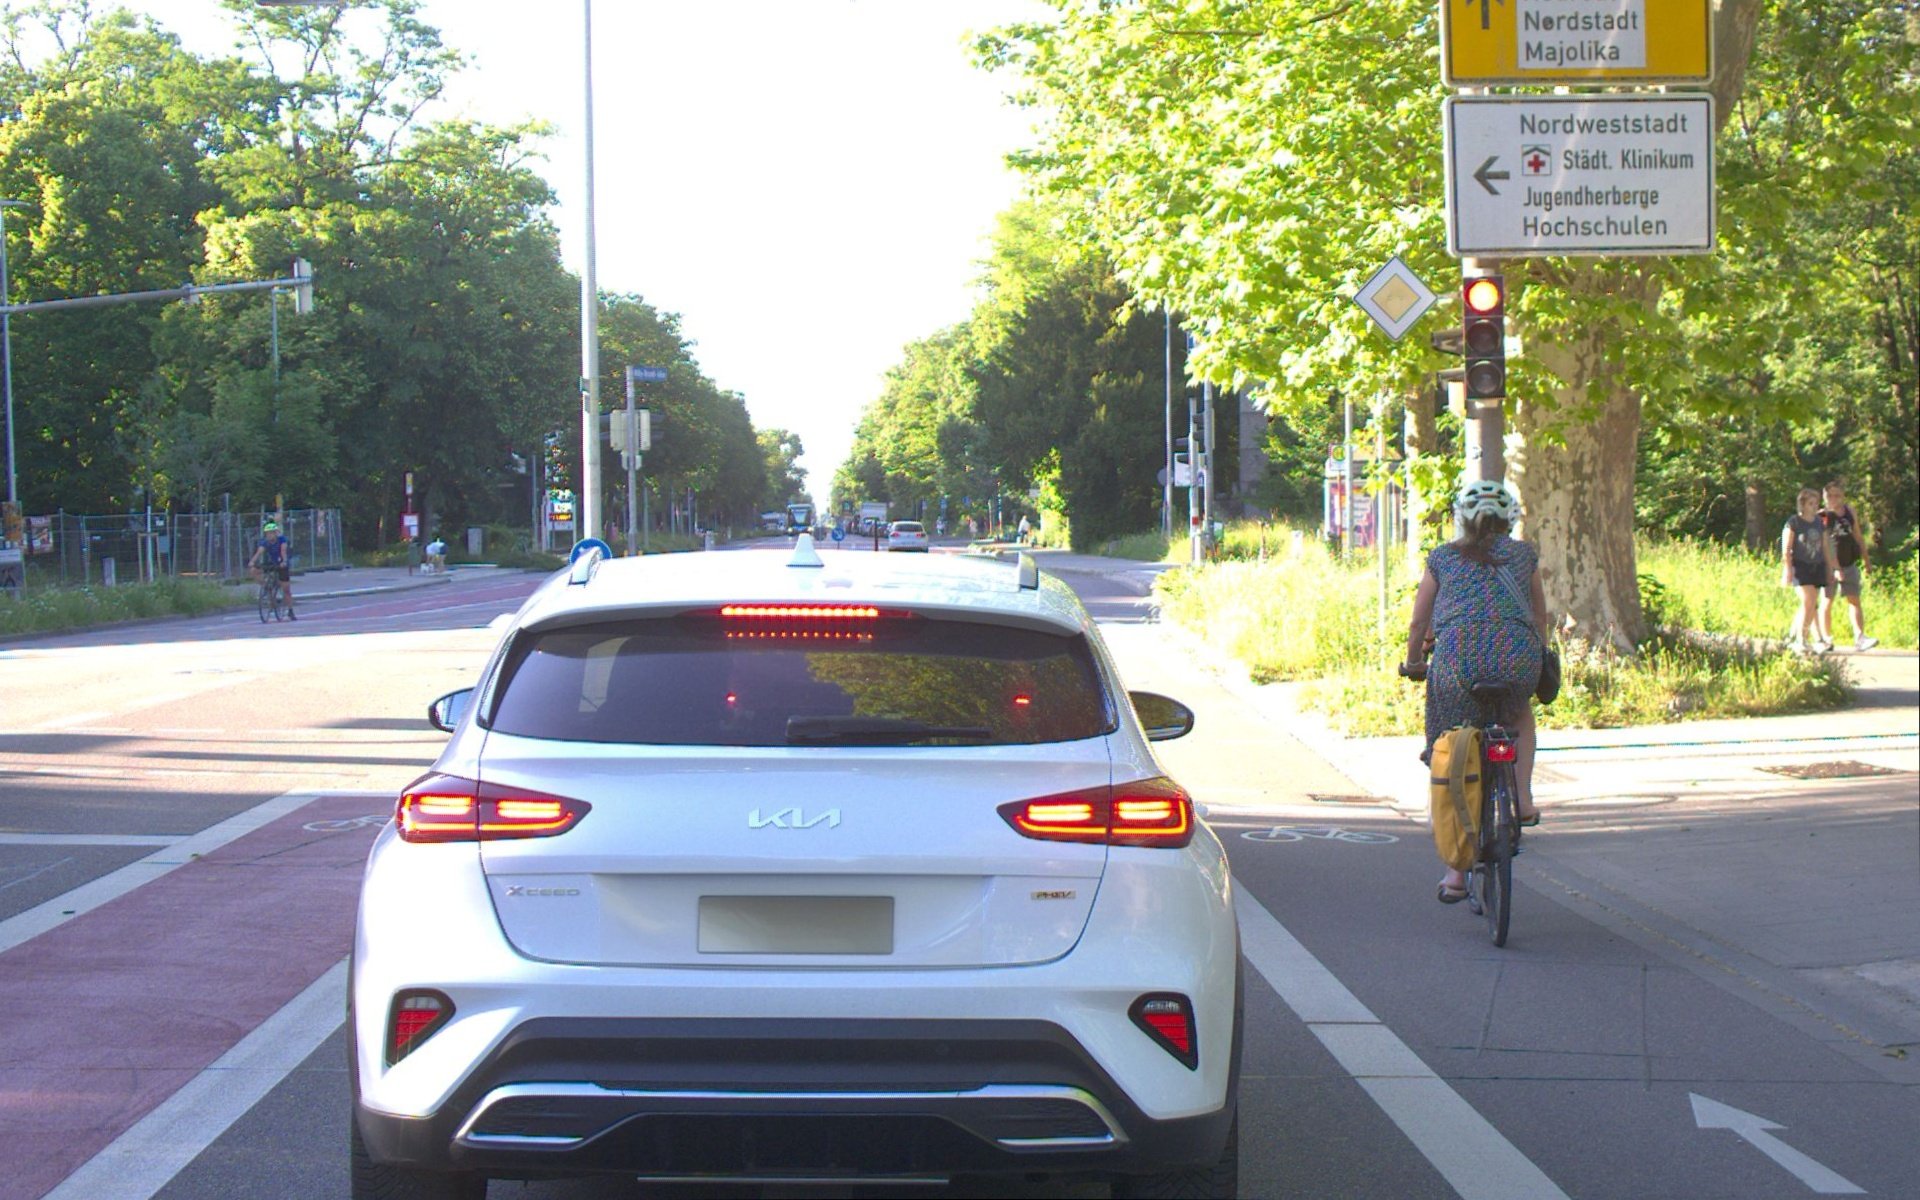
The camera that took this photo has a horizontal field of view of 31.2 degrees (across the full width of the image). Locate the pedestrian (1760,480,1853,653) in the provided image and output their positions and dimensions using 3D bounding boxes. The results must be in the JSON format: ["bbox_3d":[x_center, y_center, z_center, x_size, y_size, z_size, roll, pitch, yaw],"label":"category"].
[{"bbox_3d":[8.450,-0.343,34.336,0.689,1.693,0.644,-2,1,-7],"label":"pedestrian"}]

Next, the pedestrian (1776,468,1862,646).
[{"bbox_3d":[8.689,-0.441,34.796,0.615,1.765,0.647,-2,1,-7],"label":"pedestrian"}]

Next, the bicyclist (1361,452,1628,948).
[{"bbox_3d":[2.009,0.350,13.058,0.753,1.789,1.165,1,1,-2],"label":"bicyclist"}]

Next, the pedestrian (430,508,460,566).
[{"bbox_3d":[-15.836,-1.944,105.708,0.785,1.779,0.751,0,1,0],"label":"pedestrian"}]

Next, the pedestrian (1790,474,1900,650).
[{"bbox_3d":[9.082,-0.397,35.299,0.817,1.765,0.832,-2,1,-7],"label":"pedestrian"}]

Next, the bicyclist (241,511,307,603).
[{"bbox_3d":[-12.208,-0.780,61.201,0.875,1.603,1.188,-1,1,1],"label":"bicyclist"}]

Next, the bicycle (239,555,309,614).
[{"bbox_3d":[-12.196,-0.286,61.170,0.663,0.985,2.504,-1,1,2],"label":"bicycle"}]

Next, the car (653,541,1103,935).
[{"bbox_3d":[-0.389,0.509,15.218,1.728,1.478,3.517,-1,1,-2],"label":"car"}]

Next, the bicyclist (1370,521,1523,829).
[{"bbox_3d":[2.418,0.360,17.136,0.554,1.473,0.717,-4,1,-2],"label":"bicyclist"}]

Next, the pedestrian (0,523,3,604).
[{"bbox_3d":[-19.514,-0.697,67.741,1.087,1.598,1.001,-1,1,-7],"label":"pedestrian"}]

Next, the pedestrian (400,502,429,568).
[{"bbox_3d":[-16.727,-1.994,105.422,0.641,2.007,0.753,0,1,10],"label":"pedestrian"}]

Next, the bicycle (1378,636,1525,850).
[{"bbox_3d":[2.432,0.687,17.119,0.401,0.953,1.551,-4,1,-2],"label":"bicycle"}]

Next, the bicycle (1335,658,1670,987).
[{"bbox_3d":[2.000,0.786,13.064,0.758,1.009,2.570,1,1,-2],"label":"bicycle"}]

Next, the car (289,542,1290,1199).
[{"bbox_3d":[-0.373,0.619,8.241,1.821,1.475,3.937,0,1,-2],"label":"car"}]

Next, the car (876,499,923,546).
[{"bbox_3d":[-2.667,-3.440,152.694,1.993,2.007,4.000,-1,1,-1],"label":"car"}]
